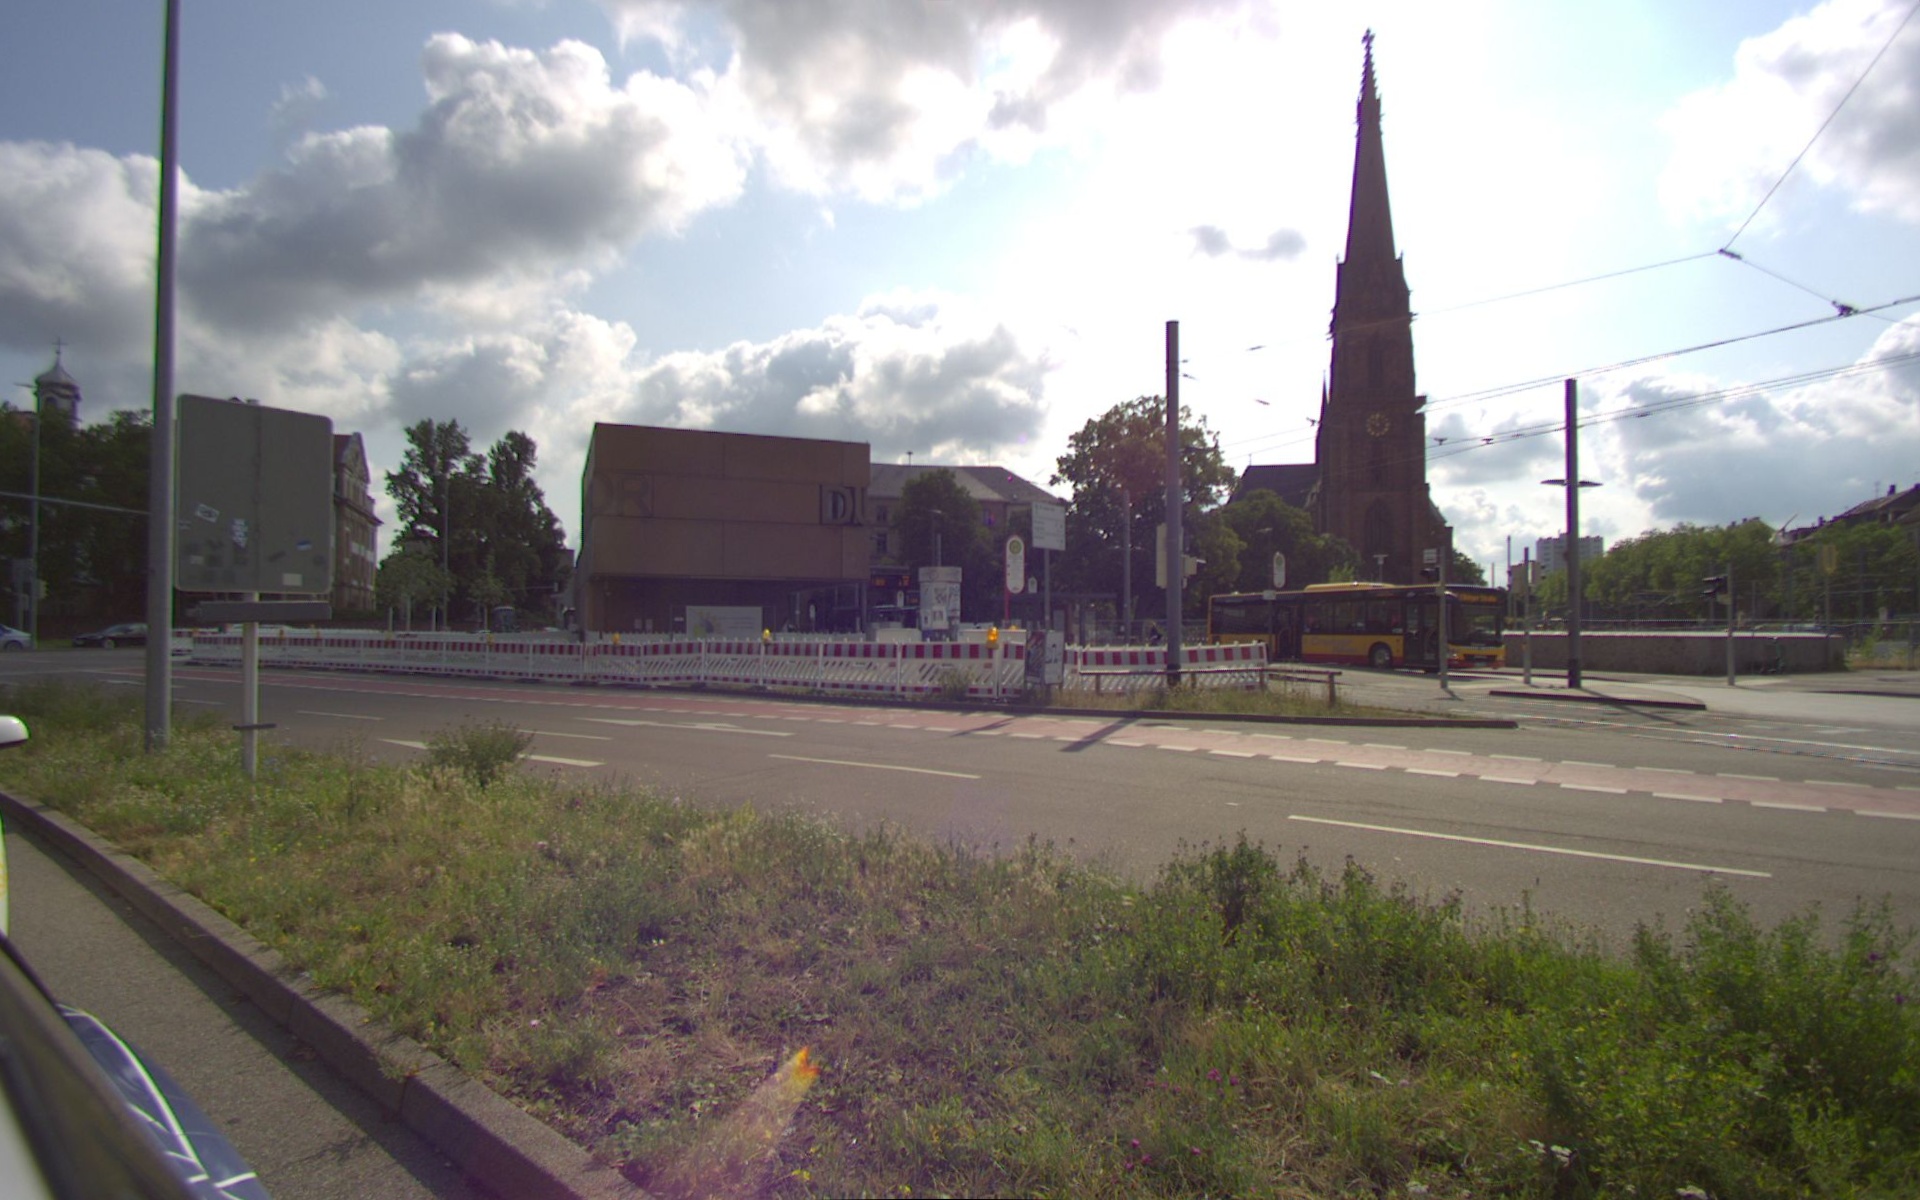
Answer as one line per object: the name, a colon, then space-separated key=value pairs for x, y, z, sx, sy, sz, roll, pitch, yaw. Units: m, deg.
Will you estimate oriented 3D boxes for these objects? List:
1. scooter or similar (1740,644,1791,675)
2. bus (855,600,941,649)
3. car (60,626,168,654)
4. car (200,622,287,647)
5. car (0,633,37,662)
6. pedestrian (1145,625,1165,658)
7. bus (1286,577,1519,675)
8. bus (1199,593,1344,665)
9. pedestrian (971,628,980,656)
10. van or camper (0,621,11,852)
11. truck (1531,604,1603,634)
scooter or similar: x=25.554 y=1.880 z=32.097 sx=1.635 sy=0.957 sz=0.475 roll=1 pitch=-2 yaw=-20
bus: x=-5.042 y=1.946 z=78.432 sx=2.913 sy=3.534 sz=12.293 roll=1 pitch=-2 yaw=-22
car: x=-43.954 y=2.068 z=52.700 sx=1.741 sy=1.401 sz=4.115 roll=0 pitch=-2 yaw=11
car: x=-42.468 y=2.046 z=60.096 sx=1.741 sy=1.401 sz=4.115 roll=0 pitch=-2 yaw=11
car: x=-51.651 y=2.500 z=52.703 sx=1.956 sy=1.500 sz=5.036 roll=-1 pitch=-2 yaw=37
pedestrian: x=9.499 y=2.008 z=49.315 sx=0.654 sy=1.617 sz=0.740 roll=2 pitch=-2 yaw=-42
bus: x=14.276 y=0.864 z=33.397 sx=2.653 sy=2.855 sz=7.123 roll=1 pitch=-2 yaw=-23
bus: x=11.879 y=1.121 z=39.039 sx=2.655 sy=2.607 sz=5.094 roll=1 pitch=-2 yaw=-23
pedestrian: x=0.914 y=2.434 z=58.890 sx=0.352 sy=1.614 sz=0.365 roll=0 pitch=-1 yaw=-28
van or camper: x=-5.385 y=0.808 z=4.344 sx=4.000 sy=1.487 sz=1.605 roll=-1 pitch=-3 yaw=43
truck: x=77.121 y=2.435 z=128.715 sx=7.393 sy=3.676 sz=2.454 roll=-1 pitch=-2 yaw=20
